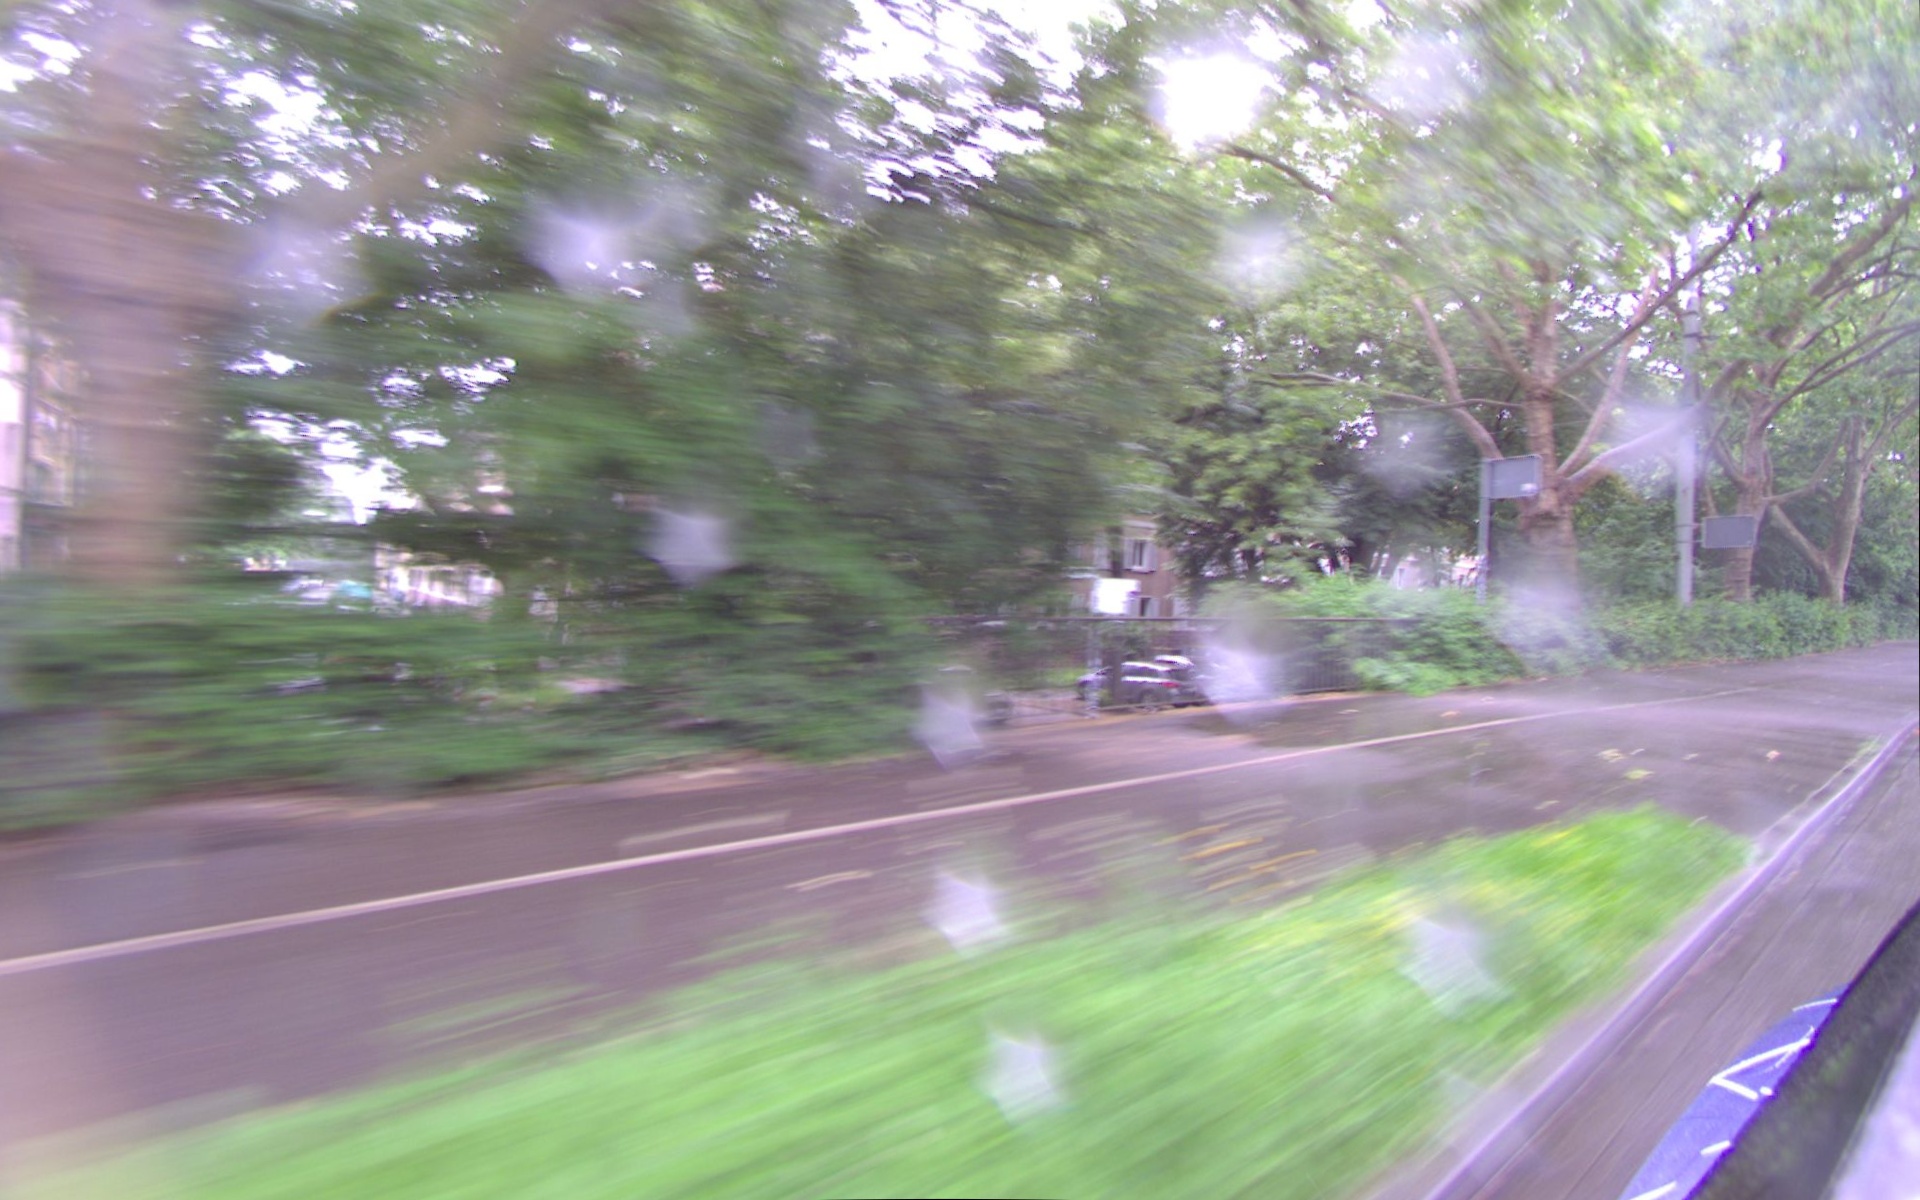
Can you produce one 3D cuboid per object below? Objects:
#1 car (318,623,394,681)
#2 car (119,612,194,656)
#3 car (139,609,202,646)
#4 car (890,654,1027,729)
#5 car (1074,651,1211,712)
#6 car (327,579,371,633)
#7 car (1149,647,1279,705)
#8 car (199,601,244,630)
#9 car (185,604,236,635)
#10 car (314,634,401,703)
[{"bbox_3d":[-18.803,1.548,31.454,1.888,1.488,3.911,-1,1,-33],"label":"car"},{"bbox_3d":[-31.085,1.273,39.239,1.888,1.488,3.911,-1,1,-33],"label":"car"},{"bbox_3d":[-35.506,1.199,45.595,1.888,1.488,3.911,-1,1,-33],"label":"car"},{"bbox_3d":[-0.097,2.433,27.671,1.736,1.466,3.733,-1,4,-40],"label":"car"},{"bbox_3d":[5.925,2.600,33.240,1.736,1.466,4.271,1,2,-40],"label":"car"},{"bbox_3d":[-32.737,0.271,54.158,1.888,2.739,3.911,-1,1,-33],"label":"car"},{"bbox_3d":[8.930,2.624,35.847,1.736,1.466,4.271,-1,4,-40],"label":"car"},{"bbox_3d":[-42.461,0.870,58.259,1.888,1.488,3.911,-1,1,-33],"label":"car"},{"bbox_3d":[-39.618,1.002,53.560,1.888,1.488,3.911,-1,1,-33],"label":"car"},{"bbox_3d":[-16.362,1.781,27.411,1.888,1.488,3.911,-1,1,-33],"label":"car"}]
